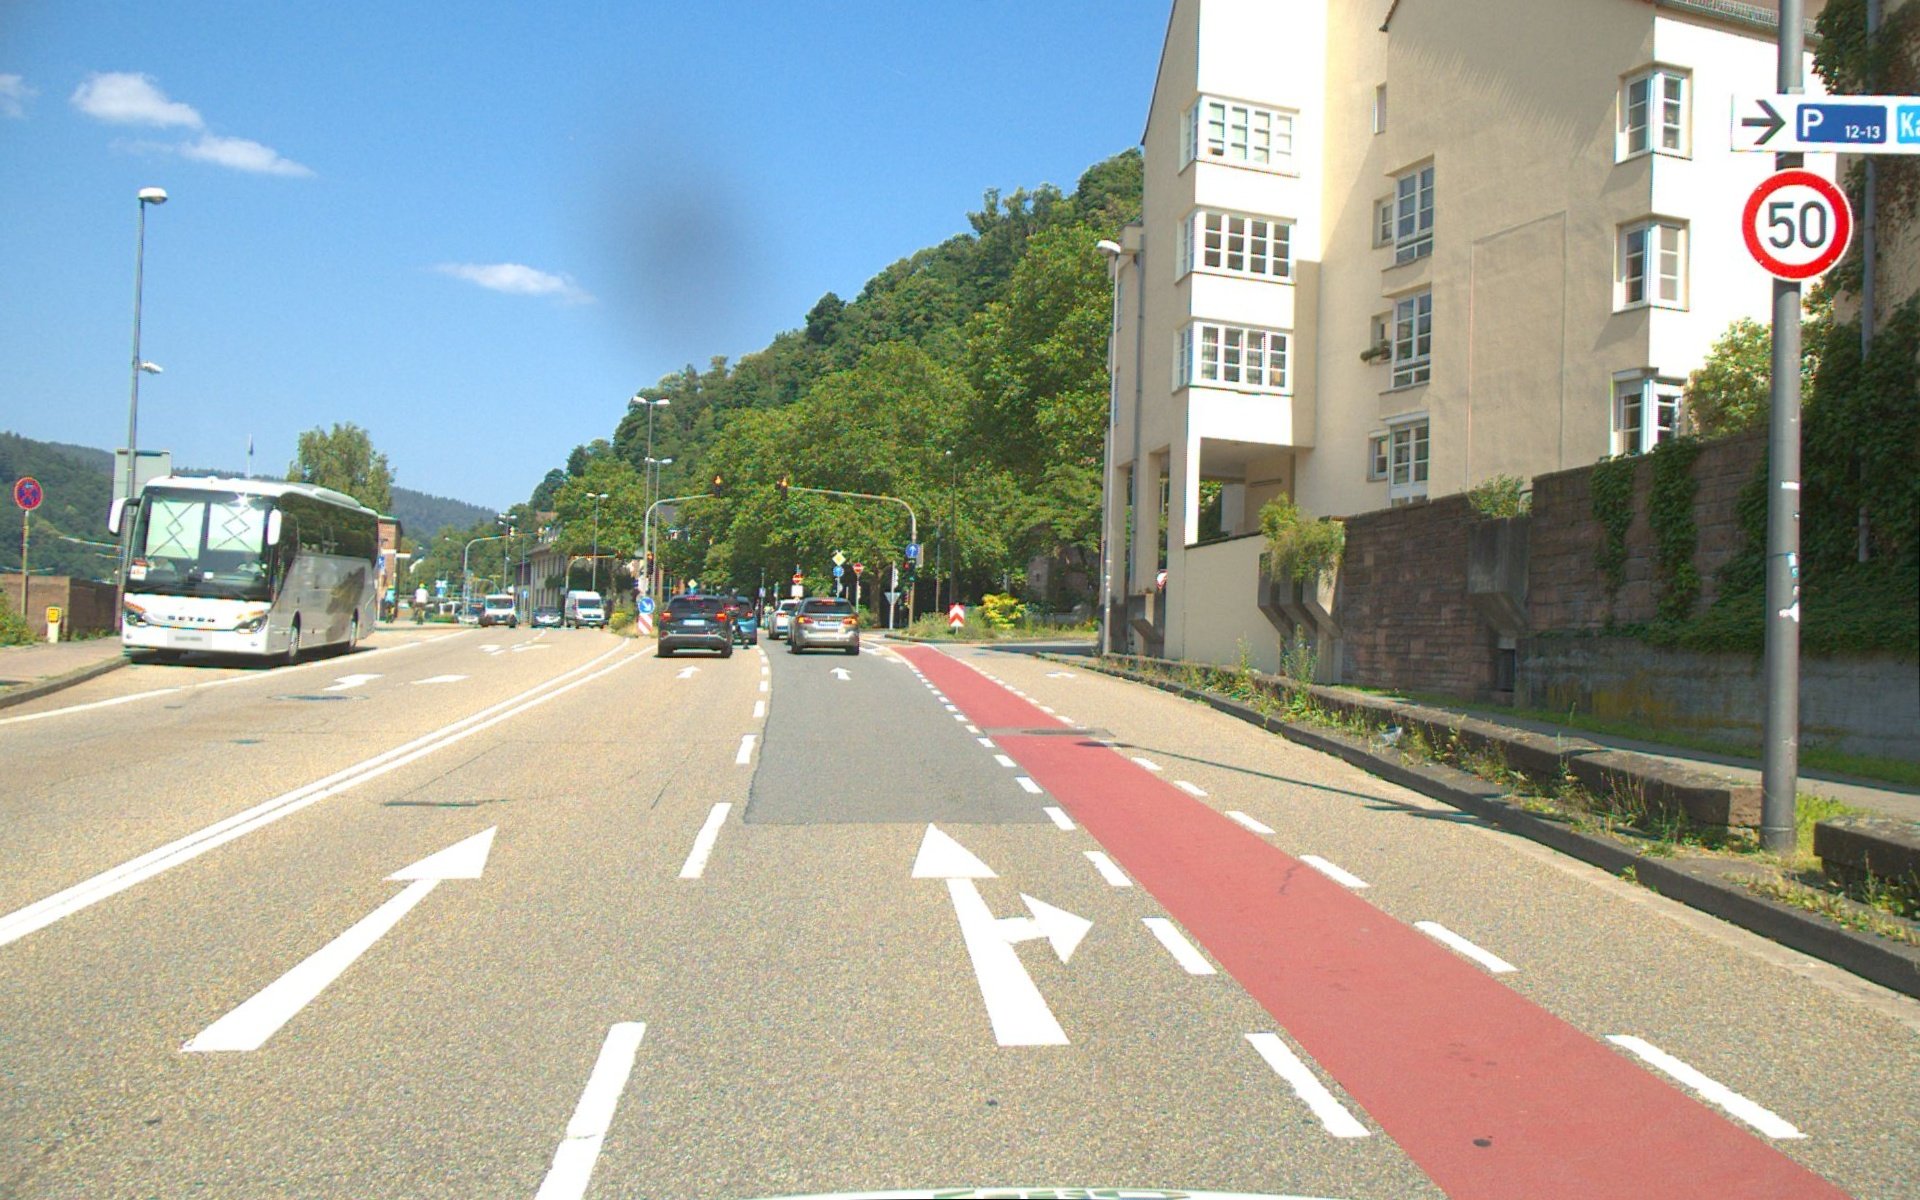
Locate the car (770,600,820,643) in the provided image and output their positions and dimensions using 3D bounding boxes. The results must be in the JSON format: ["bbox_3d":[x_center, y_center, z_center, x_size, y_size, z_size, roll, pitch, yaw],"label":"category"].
[{"bbox_3d":[-6.288,0.822,62.695,1.751,1.559,4.729,1,-1,-7],"label":"car"}]

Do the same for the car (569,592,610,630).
[{"bbox_3d":[-26.512,0.810,118.191,2.347,2.621,6.024,1,0,-18],"label":"car"}]

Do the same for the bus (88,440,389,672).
[{"bbox_3d":[-15.004,-0.767,35.823,2.904,3.866,13.207,5,-1,-11],"label":"bus"}]

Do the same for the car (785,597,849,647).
[{"bbox_3d":[-4.855,0.715,55.642,1.956,1.560,4.851,2,0,-7],"label":"car"}]

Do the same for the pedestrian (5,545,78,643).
[{"bbox_3d":[-17.591,-0.109,31.701,0.876,1.827,1.037,2,-1,-12],"label":"pedestrian"}]

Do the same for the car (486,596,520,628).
[{"bbox_3d":[-31.290,0.791,113.139,2.179,2.115,5.021,1,0,-16],"label":"car"}]

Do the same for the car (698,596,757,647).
[{"bbox_3d":[-7.696,0.682,54.567,1.832,1.589,3.992,1,0,-9],"label":"car"}]

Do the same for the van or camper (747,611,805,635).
[{"bbox_3d":[-15.339,1.941,138.135,4.445,1.935,2.002,1,0,9],"label":"van or camper"}]

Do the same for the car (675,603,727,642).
[{"bbox_3d":[-9.697,0.834,62.088,1.832,1.382,3.992,1,0,-9],"label":"car"}]

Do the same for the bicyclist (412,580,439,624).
[{"bbox_3d":[-25.493,0.087,78.883,1.193,2.049,1.113,1,0,-17],"label":"bicyclist"}]

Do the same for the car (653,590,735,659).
[{"bbox_3d":[-6.616,0.604,41.244,1.834,1.540,4.142,3,-1,-9],"label":"car"}]

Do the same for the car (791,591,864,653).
[{"bbox_3d":[-3.720,0.608,45.974,1.852,1.548,4.300,3,-1,-6],"label":"car"}]

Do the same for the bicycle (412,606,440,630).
[{"bbox_3d":[-25.414,0.842,78.798,1.193,1.109,2.586,1,0,-17],"label":"bicycle"}]

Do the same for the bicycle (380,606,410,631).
[{"bbox_3d":[-26.297,0.854,76.980,1.193,1.109,2.585,1,0,-17],"label":"bicycle"}]

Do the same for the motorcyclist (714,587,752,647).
[{"bbox_3d":[-6.616,0.485,48.269,1.055,1.714,1.154,1,0,-7],"label":"motorcyclist"}]

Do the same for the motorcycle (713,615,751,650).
[{"bbox_3d":[-6.594,0.938,48.011,1.018,0.935,2.601,1,0,-7],"label":"motorcycle"}]

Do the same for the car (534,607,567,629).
[{"bbox_3d":[-28.335,1.239,114.535,1.958,1.457,4.155,1,0,-11],"label":"car"}]

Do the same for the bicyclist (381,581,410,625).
[{"bbox_3d":[-26.272,0.143,76.951,1.193,2.049,1.113,1,0,-17],"label":"bicyclist"}]
